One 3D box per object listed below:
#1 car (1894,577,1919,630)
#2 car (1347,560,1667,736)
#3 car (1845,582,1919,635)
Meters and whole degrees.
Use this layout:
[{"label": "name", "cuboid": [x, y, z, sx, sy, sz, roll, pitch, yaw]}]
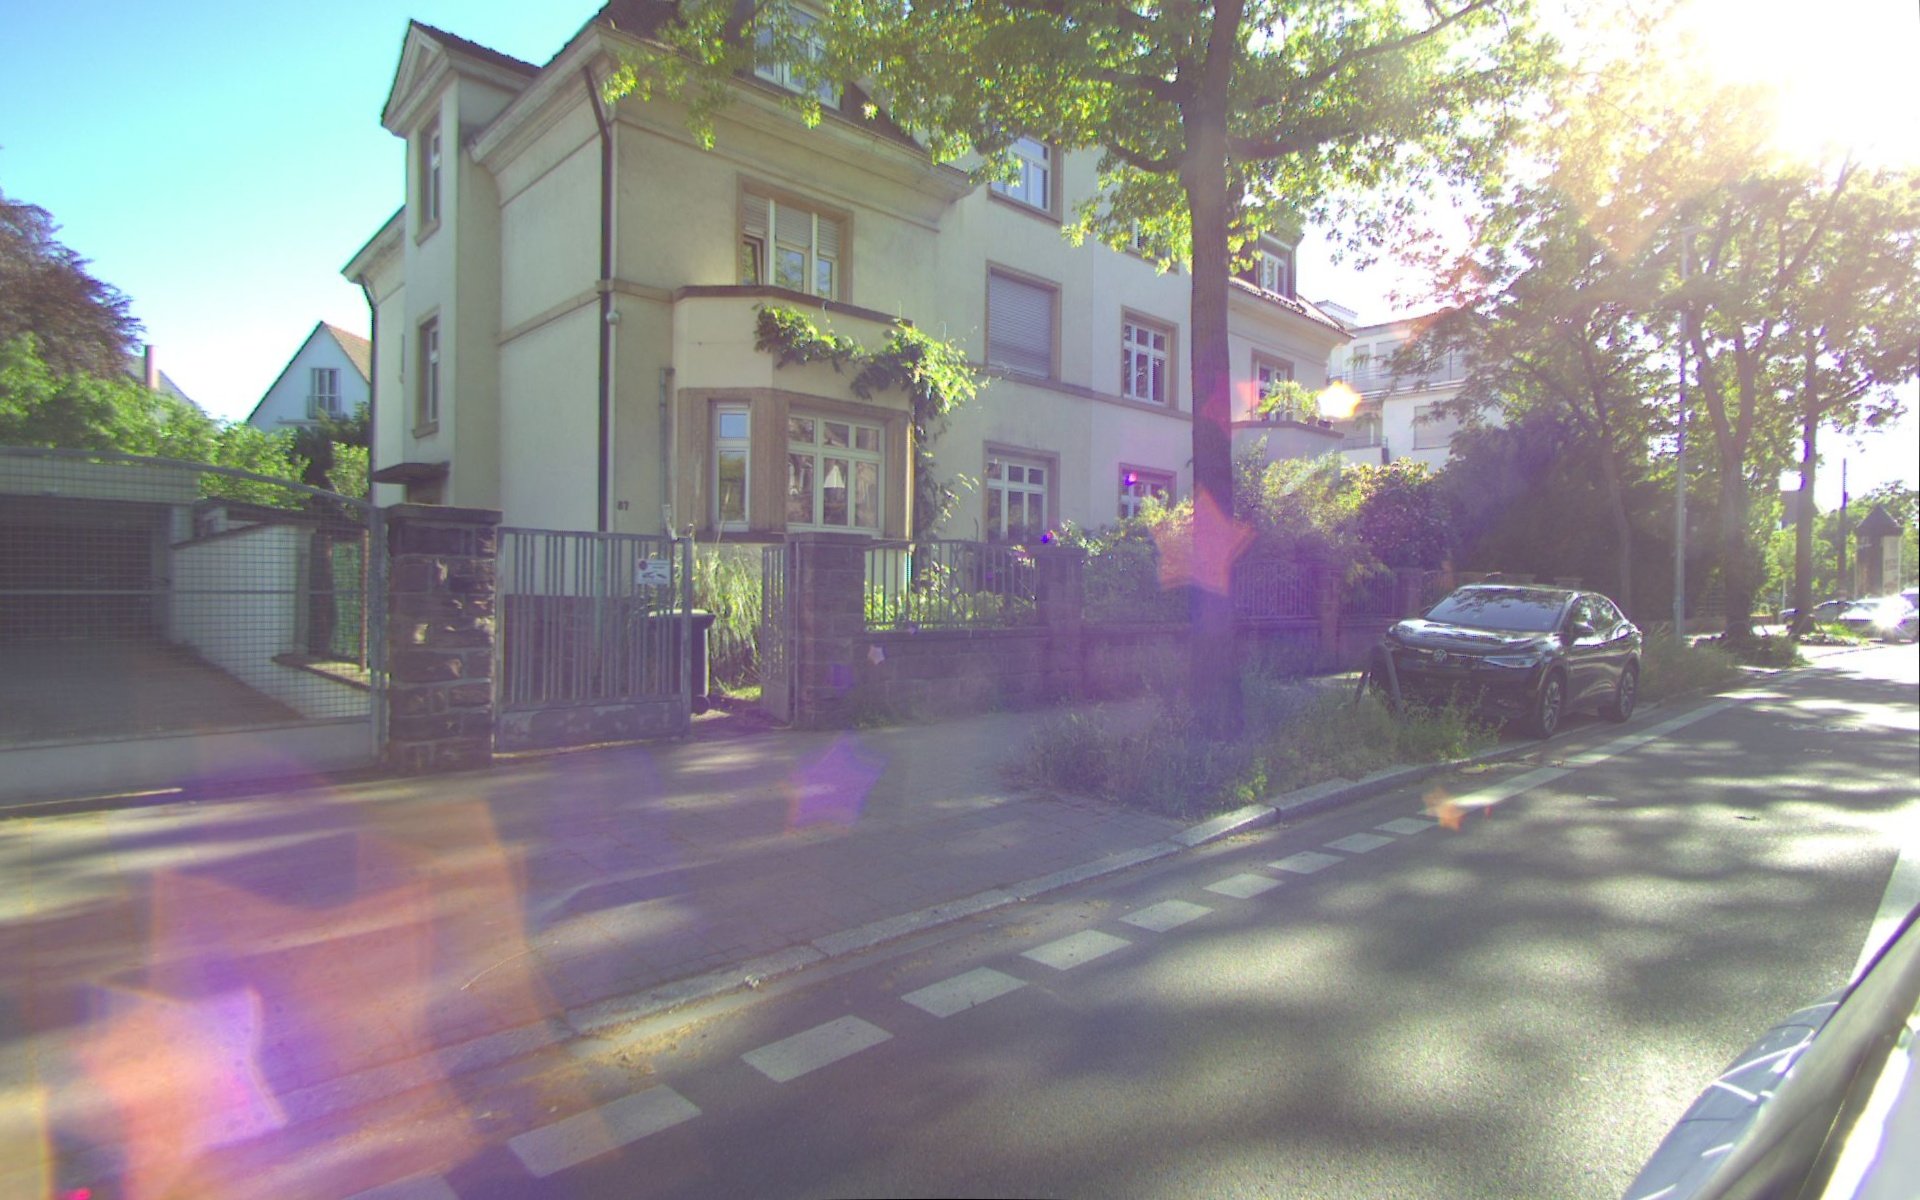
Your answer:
[{"label": "car", "cuboid": [36.765, 0.125, 37.878, 4.663, 1.919, 2.128, 0, 1, -41]}, {"label": "car", "cuboid": [6.701, 0.478, 12.199, 4.304, 1.695, 1.997, 1, 2, -42]}, {"label": "car", "cuboid": [31.510, 0.248, 34.101, 3.927, 1.660, 1.824, 0, 1, -38]}]
